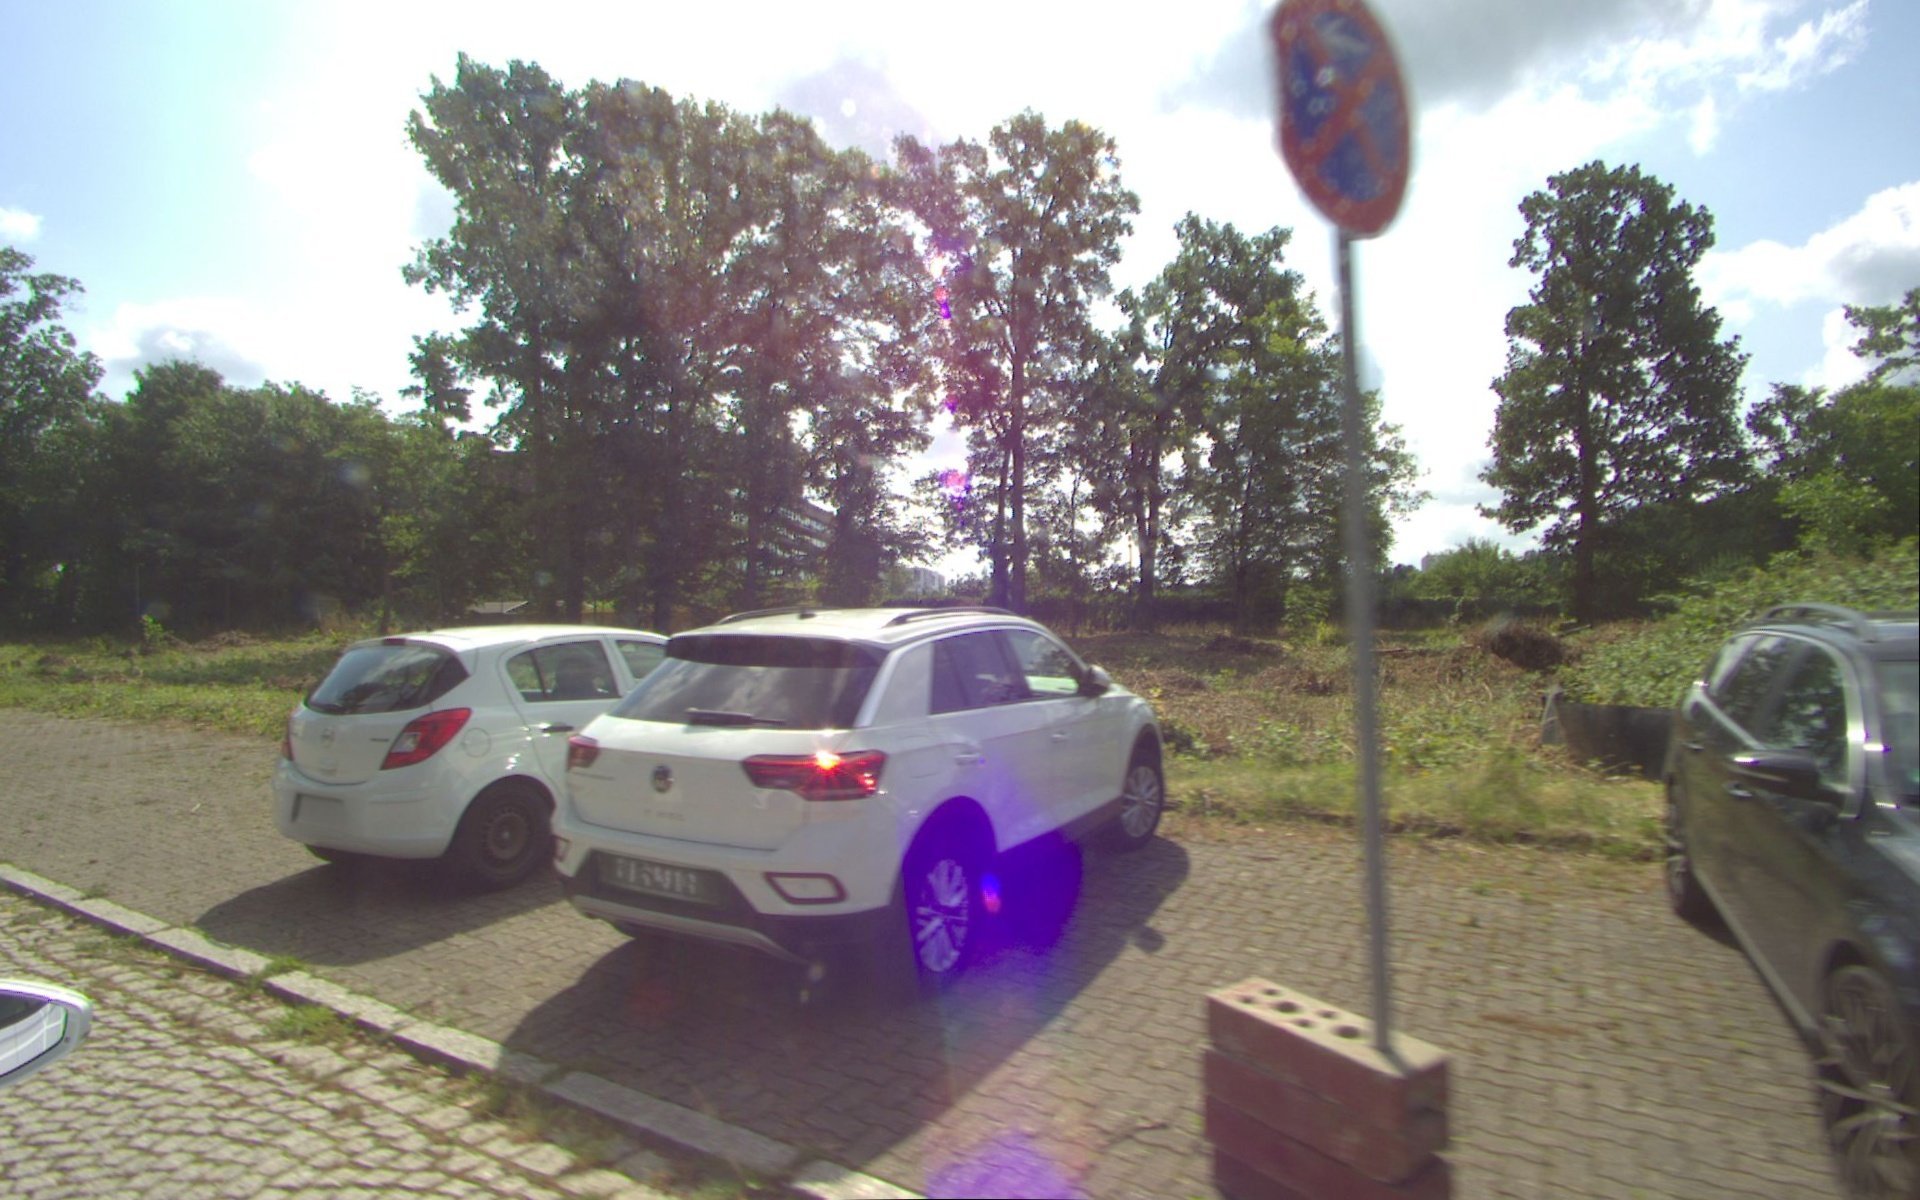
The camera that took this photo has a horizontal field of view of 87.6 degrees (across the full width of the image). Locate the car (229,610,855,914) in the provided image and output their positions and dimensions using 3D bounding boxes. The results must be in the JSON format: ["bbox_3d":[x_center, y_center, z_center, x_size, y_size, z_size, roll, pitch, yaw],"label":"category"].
[{"bbox_3d":[-2.622,0.863,7.303,1.678,1.483,4.037,-1,0,29],"label":"car"}]

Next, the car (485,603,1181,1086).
[{"bbox_3d":[-0.224,0.817,5.425,1.720,1.527,3.982,-1,0,29],"label":"car"}]

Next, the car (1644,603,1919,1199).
[{"bbox_3d":[3.548,0.787,3.174,1.718,1.495,4.450,-1,0,27],"label":"car"}]
